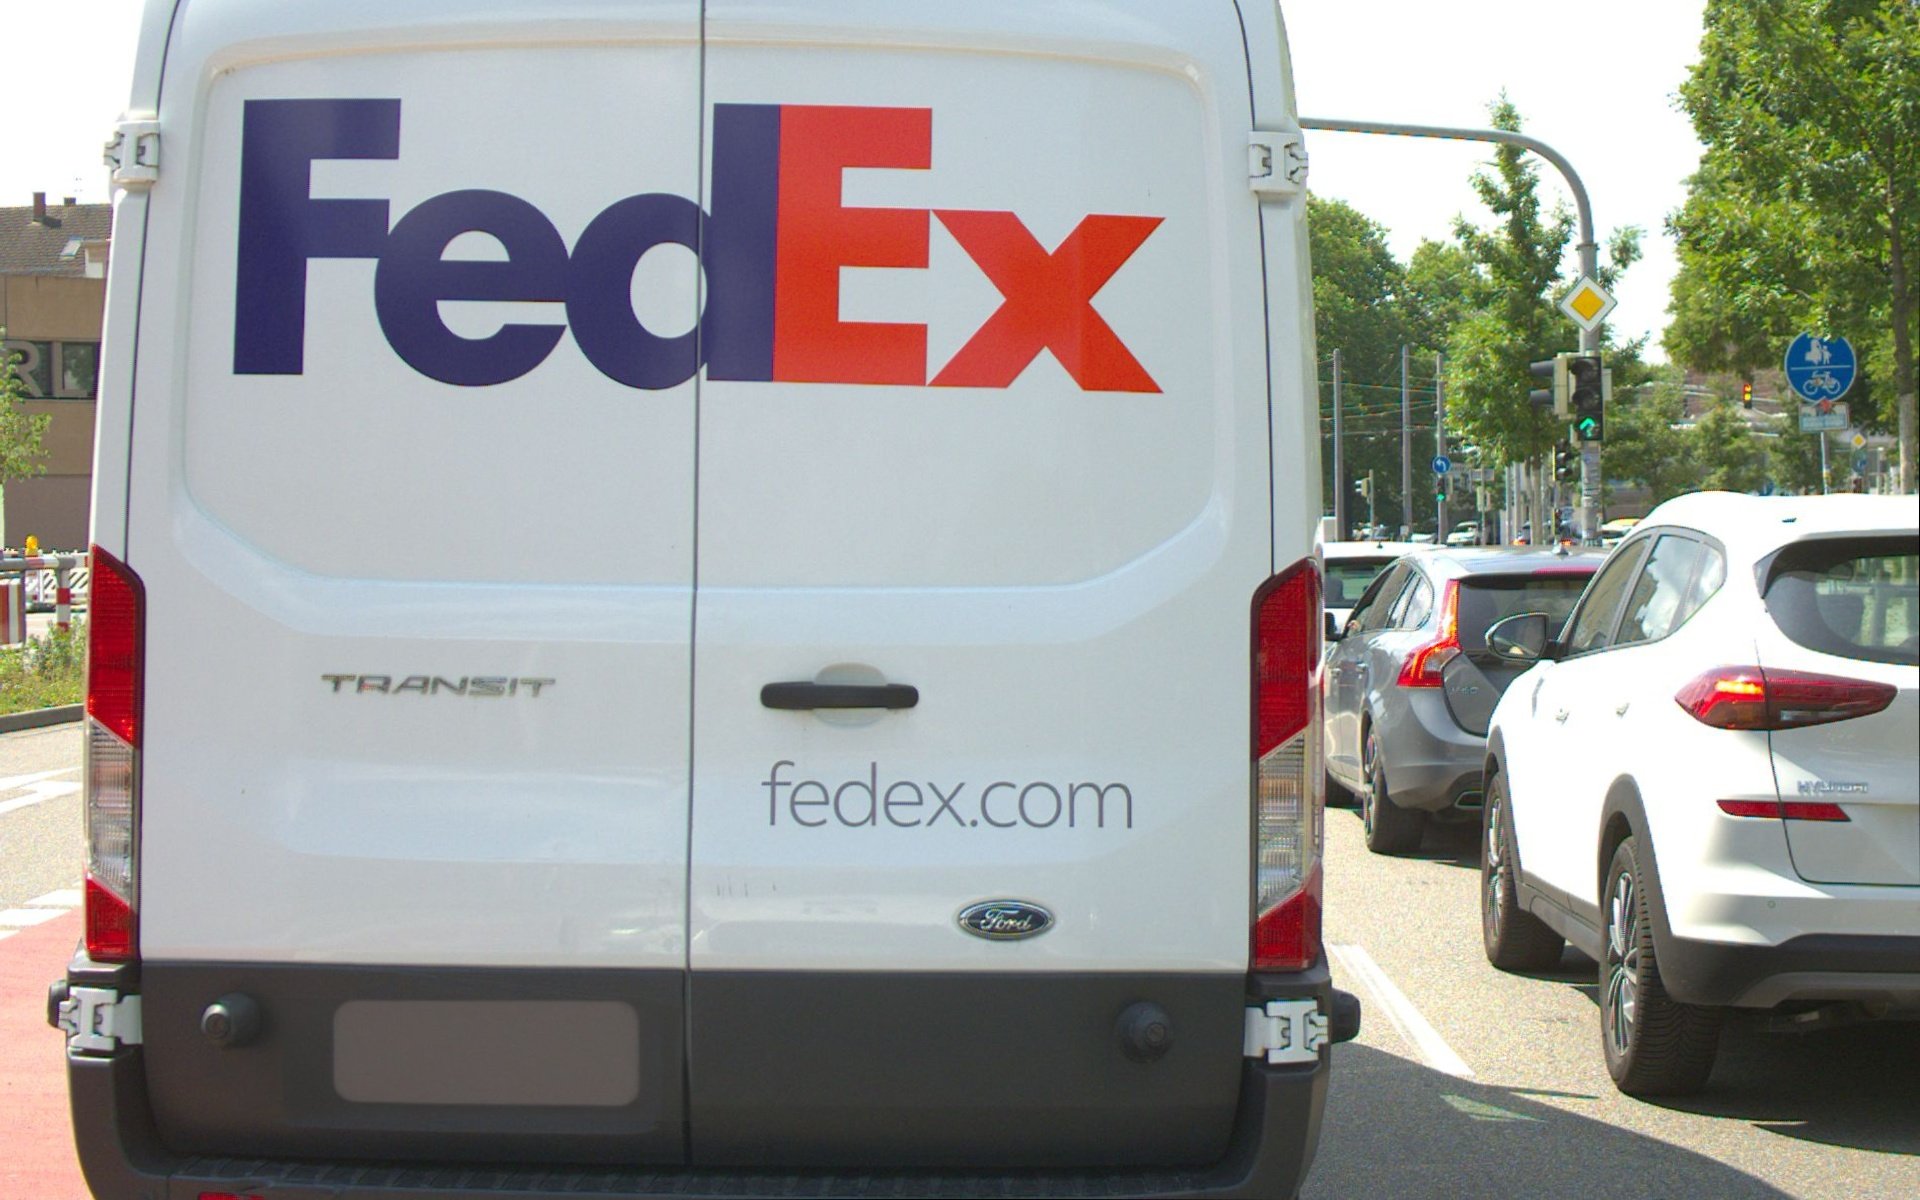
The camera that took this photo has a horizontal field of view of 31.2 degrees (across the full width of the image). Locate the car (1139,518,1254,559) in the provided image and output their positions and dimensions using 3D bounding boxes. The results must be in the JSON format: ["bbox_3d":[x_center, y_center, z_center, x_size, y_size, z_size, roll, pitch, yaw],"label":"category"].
[{"bbox_3d":[9.814,-2.555,142.877,4.469,1.642,1.893,1,1,40],"label":"car"}]

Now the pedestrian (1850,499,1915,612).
[{"bbox_3d":[15.120,-0.734,56.380,0.758,1.843,0.816,-1,1,-8],"label":"pedestrian"}]

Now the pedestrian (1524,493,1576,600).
[{"bbox_3d":[10.268,-0.933,59.848,0.813,1.843,0.761,0,1,3],"label":"pedestrian"}]

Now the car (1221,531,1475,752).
[{"bbox_3d":[2.753,0.247,24.951,1.499,1.459,3.474,0,1,1],"label":"car"}]

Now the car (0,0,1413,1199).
[{"bbox_3d":[-0.349,0.070,7.196,2.072,2.572,4.428,0,1,1],"label":"car"}]

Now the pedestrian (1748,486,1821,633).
[{"bbox_3d":[10.507,-0.525,43.833,0.759,1.843,0.816,-1,1,3],"label":"pedestrian"}]

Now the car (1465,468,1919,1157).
[{"bbox_3d":[2.690,0.463,10.339,1.814,1.673,3.974,0,1,1],"label":"car"}]

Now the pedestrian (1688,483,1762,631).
[{"bbox_3d":[9.651,-0.548,43.403,0.759,1.843,0.816,-1,1,1],"label":"pedestrian"}]

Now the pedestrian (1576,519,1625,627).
[{"bbox_3d":[11.003,-0.465,59.042,0.759,1.843,0.816,0,1,15],"label":"pedestrian"}]

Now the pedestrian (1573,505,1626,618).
[{"bbox_3d":[10.546,-0.644,56.682,0.759,1.843,0.815,0,1,18],"label":"pedestrian"}]

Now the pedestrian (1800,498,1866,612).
[{"bbox_3d":[14.234,-0.741,56.070,0.758,1.843,0.816,-1,1,-10],"label":"pedestrian"}]

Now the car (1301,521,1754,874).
[{"bbox_3d":[2.703,0.392,17.116,1.691,1.543,3.720,0,1,1],"label":"car"}]
